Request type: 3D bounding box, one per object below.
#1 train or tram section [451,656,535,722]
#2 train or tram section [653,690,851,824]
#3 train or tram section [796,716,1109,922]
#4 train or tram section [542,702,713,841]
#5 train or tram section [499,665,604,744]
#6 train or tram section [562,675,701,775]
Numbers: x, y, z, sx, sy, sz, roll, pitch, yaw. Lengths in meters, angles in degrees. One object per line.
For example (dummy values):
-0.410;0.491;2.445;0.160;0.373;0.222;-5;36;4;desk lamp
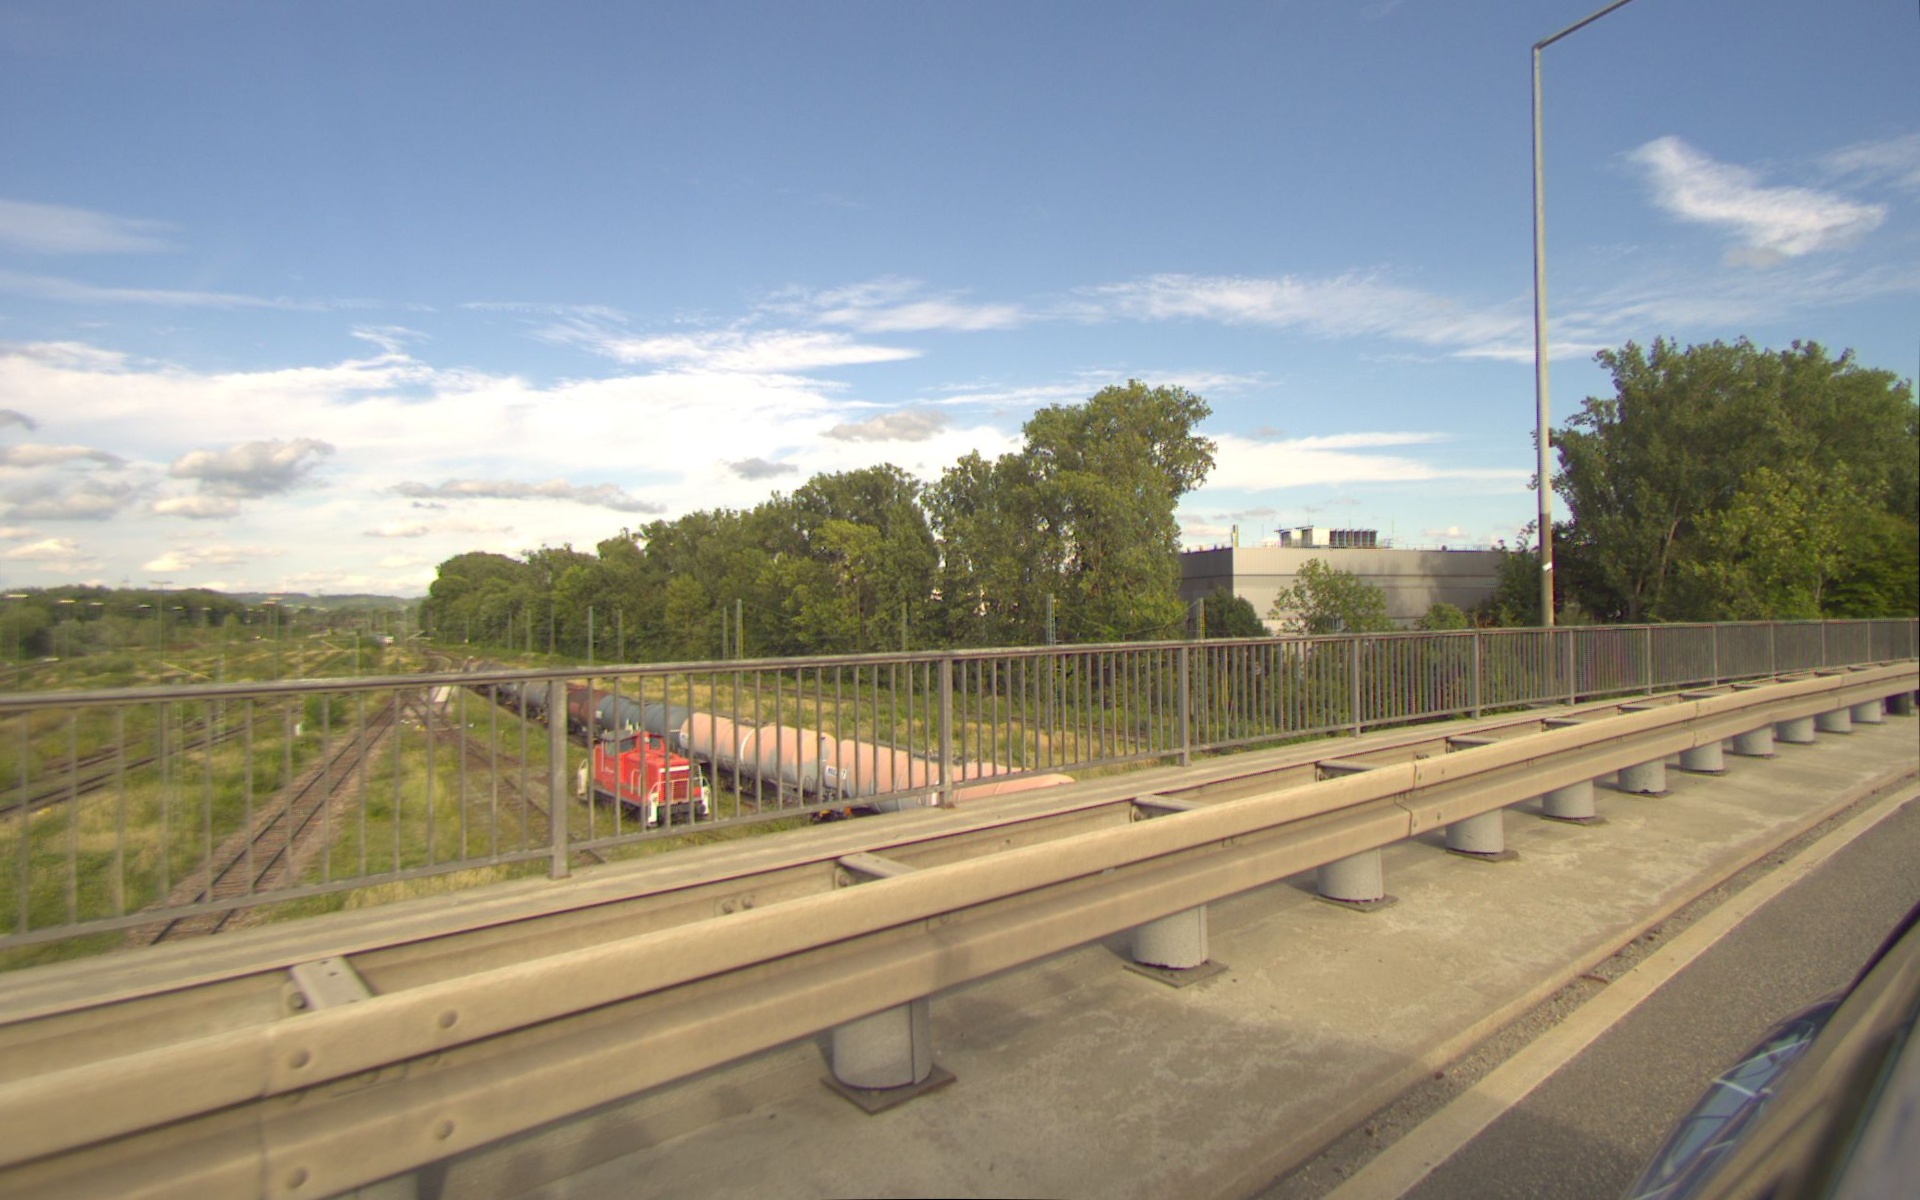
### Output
-43.297;7.980;93.364;3.041;4.772;16.730;-1;0;-39;train or tram section
-11.722;7.937;54.314;3.041;4.772;16.730;-1;1;-39;train or tram section
-1.174;8.195;41.308;3.041;4.771;16.733;-1;2;-39;train or tram section
-17.876;8.395;52.820;3.040;4.196;17.294;-1;2;-37;train or tram section
-32.766;7.989;80.385;3.041;4.772;16.730;-1;0;-39;train or tram section
-22.256;7.943;67.322;3.041;4.772;16.730;-1;0;-39;train or tram section
